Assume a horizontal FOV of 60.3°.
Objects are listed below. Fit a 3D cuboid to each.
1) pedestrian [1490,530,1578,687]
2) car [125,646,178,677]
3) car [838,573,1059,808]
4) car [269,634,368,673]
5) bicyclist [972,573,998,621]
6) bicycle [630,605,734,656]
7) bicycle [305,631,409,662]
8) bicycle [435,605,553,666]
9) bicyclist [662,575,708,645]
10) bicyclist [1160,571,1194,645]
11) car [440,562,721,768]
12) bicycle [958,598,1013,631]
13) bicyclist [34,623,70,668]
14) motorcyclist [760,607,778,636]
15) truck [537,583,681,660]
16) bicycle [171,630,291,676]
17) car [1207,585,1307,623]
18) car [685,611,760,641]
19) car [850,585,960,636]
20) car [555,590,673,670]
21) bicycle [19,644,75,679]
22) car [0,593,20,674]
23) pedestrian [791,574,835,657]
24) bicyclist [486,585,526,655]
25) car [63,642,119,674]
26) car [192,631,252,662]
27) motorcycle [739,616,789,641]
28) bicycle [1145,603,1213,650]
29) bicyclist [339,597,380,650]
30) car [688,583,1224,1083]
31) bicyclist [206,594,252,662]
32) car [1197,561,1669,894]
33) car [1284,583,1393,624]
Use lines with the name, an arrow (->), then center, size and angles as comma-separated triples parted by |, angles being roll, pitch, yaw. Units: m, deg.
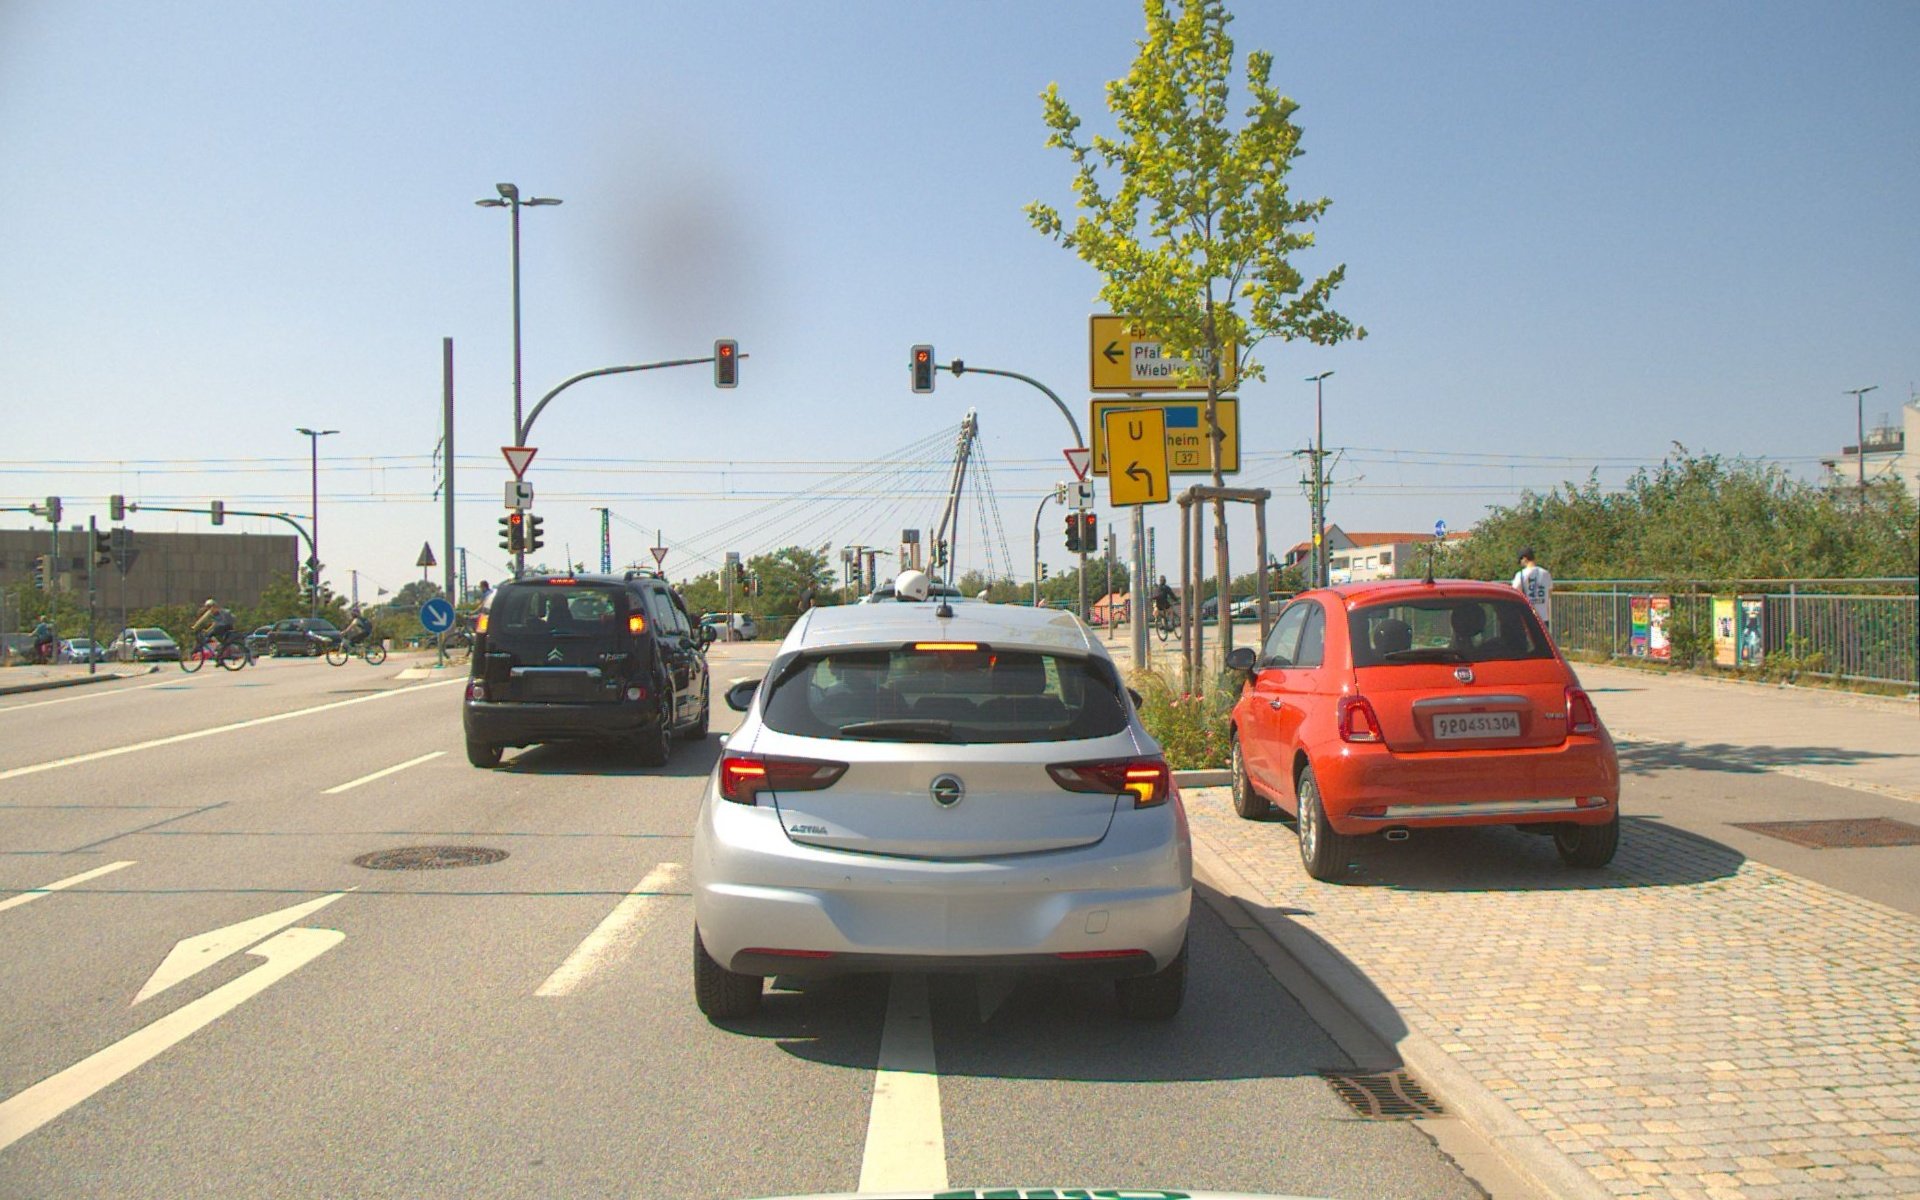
pedestrian -> 6.989, 0.105, 20.173 | 0.743, 1.862, 0.884 | 1, -1, -1
car -> -35.894, 2.714, 73.419 | 2.440, 1.262, 1.272 | 0, -1, 42
car -> -0.134, 0.695, 14.152 | 1.602, 1.703, 3.743 | 1, -1, -2
car -> -25.211, 2.091, 64.968 | 3.705, 1.414, 1.662 | 1, -1, 30
bicyclist -> 0.863, -0.097, 57.142 | 0.757, 1.638, 0.948 | 1, -1, -6
bicycle -> -6.520, 0.717, 38.886 | 2.311, 1.147, 0.677 | 1, -1, -4
bicycle -> -13.966, 1.077, 38.331 | 2.200, 0.704, 0.516 | 0, -1, -1
bicycle -> -10.775, 0.816, 38.283 | 2.479, 1.153, 0.727 | -5, 2, -11
bicyclist -> -6.463, 0.241, 38.895 | 0.926, 1.596, 0.822 | 1, -1, -3
bicyclist -> 5.715, 0.217, 43.512 | 0.590, 1.920, 0.627 | 2, -1, -40
car -> -3.328, 0.545, 15.241 | 1.767, 1.650, 3.915 | 0, -1, -1
bicycle -> 0.868, 0.509, 57.109 | 1.830, 1.087, 0.577 | 1, -1, -6
bicyclist -> -31.185, 1.549, 56.816 | 0.705, 1.530, 0.822 | 0, -1, 30
motorcyclist -> -9.808, 1.102, 85.005 | 0.792, 1.502, 0.885 | 1, -1, -1
truck -> -12.443, 0.754, 58.838 | 4.595, 2.585, 2.001 | 1, -1, 3
bicycle -> -16.644, 1.211, 37.763 | 2.453, 1.025, 0.605 | 0, -1, -1
car -> 13.902, 0.180, 77.389 | 4.180, 1.703, 1.990 | 1, -1, -18
car -> -10.937, 1.204, 76.342 | 3.144, 1.327, 1.525 | 0, -1, 6
car -> -2.054, 0.391, 62.666 | 3.948, 1.846, 1.933 | 1, -1, 4
car -> -6.388, 0.548, 30.825 | 1.555, 1.419, 3.338 | 0, -1, -2
bicycle -> -31.464, 2.111, 56.987 | 2.276, 1.153, 0.635 | 1, 0, 32
car -> -25.645, 0.834, 43.318 | 1.652, 2.049, 3.961 | 2, -1, -29
pedestrian -> -3.421, 0.357, 38.469 | 0.733, 1.896, 0.745 | 2, -1, -32
bicyclist -> -10.510, 0.459, 38.308 | 0.807, 1.587, 0.861 | 1, -1, -11
car -> -43.217, 2.865, 82.234 | 3.101, 1.464, 1.575 | 0, -1, 45
car -> -43.134, 2.695, 96.666 | 3.321, 1.684, 1.642 | 1, -1, 34
motorcycle -> -10.069, 1.464, 84.945 | 2.485, 1.255, 0.648 | 1, -1, -2
bicycle -> 5.769, 0.701, 43.559 | 2.069, 1.198, 0.547 | 1, -1, -41
bicyclist -> -13.913, 0.540, 38.346 | 0.643, 1.196, 0.731 | 1, -1, 0
car -> -0.059, 0.730, 7.285 | 1.656, 1.546, 4.269 | 0, 0, -1
bicyclist -> -16.689, 0.641, 37.780 | 0.643, 1.528, 0.843 | 1, -1, 0
car -> 2.611, 0.578, 10.079 | 1.636, 1.566, 3.916 | -2, 2, -2
car -> 15.024, 0.136, 65.640 | 3.913, 1.578, 1.667 | -1, -1, -18
